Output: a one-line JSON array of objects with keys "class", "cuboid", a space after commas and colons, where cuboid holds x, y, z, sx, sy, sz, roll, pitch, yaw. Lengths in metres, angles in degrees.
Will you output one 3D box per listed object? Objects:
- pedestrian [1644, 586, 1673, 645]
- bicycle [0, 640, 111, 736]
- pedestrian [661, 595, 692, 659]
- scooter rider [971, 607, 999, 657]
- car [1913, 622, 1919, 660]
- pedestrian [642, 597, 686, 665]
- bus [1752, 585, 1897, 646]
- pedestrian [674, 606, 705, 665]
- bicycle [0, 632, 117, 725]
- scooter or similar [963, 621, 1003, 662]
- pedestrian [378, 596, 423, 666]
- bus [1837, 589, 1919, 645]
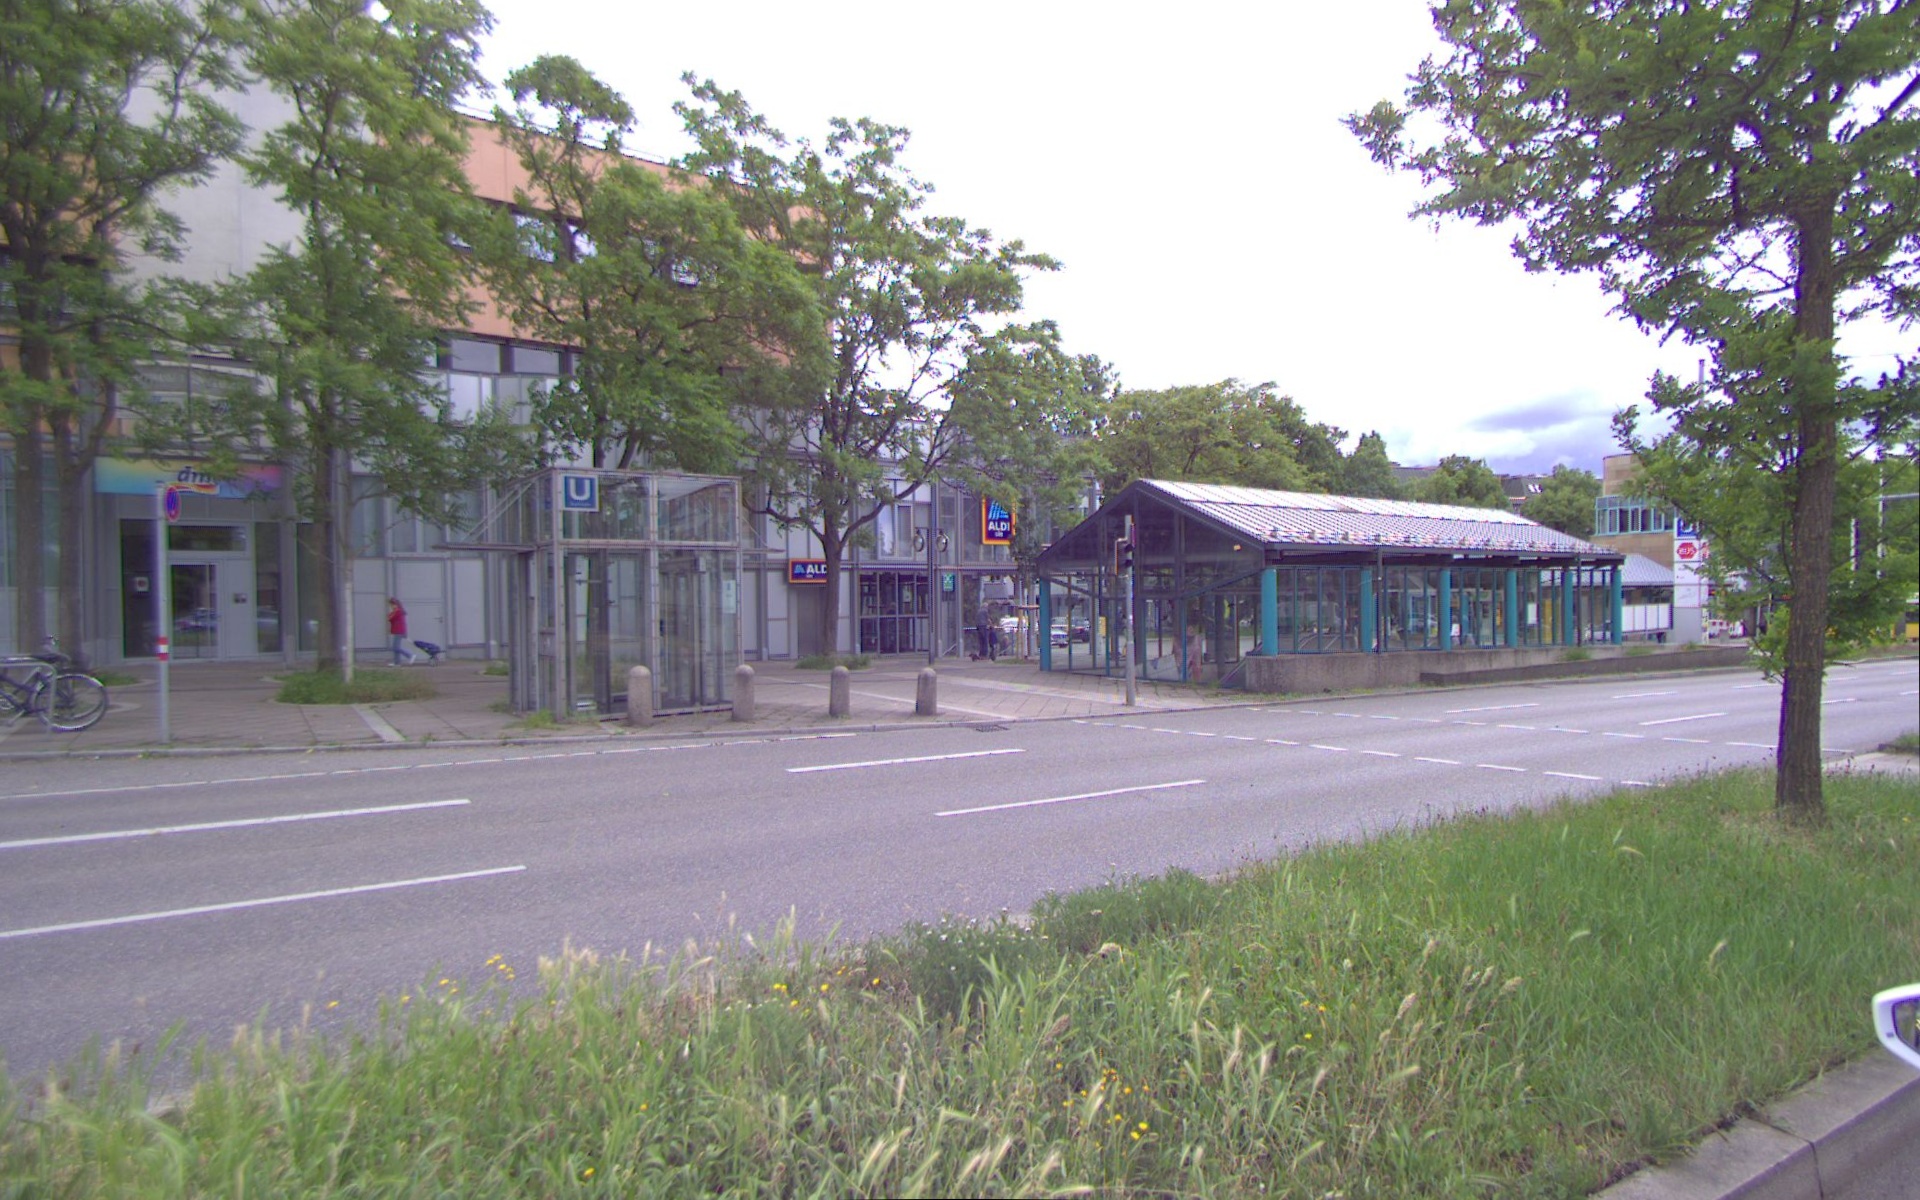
[{"class": "pedestrian", "cuboid": [24.351, 0.540, 35.017, 0.639, 2.040, 0.677, 1, -1, -34]}, {"class": "bicycle", "cuboid": [-11.617, 1.066, 12.220, 1.923, 1.098, 0.822, 1, -1, -44]}, {"class": "pedestrian", "cuboid": [-7.919, 0.742, 28.046, 0.674, 1.750, 0.560, 0, 0, -39]}, {"class": "scooter rider", "cuboid": [0.822, 1.034, 32.598, 0.701, 1.566, 0.520, 0, 2, -39]}, {"class": "car", "cuboid": [40.435, 1.658, 40.487, 3.955, 1.506, 1.983, 1, -1, -32]}, {"class": "pedestrian", "cuboid": [-7.782, 0.807, 26.411, 0.879, 1.739, 0.764, 0, 2, -39]}, {"class": "bus", "cuboid": [52.837, 0.996, 61.284, 10.591, 3.476, 2.822, 1, -1, -26]}, {"class": "pedestrian", "cuboid": [-7.441, 0.970, 27.670, 0.674, 1.610, 0.513, 0, 0, -39]}, {"class": "bicycle", "cuboid": [-12.287, 1.017, 13.096, 0.706, 1.151, 1.944, 0, -1, 45]}, {"class": "scooter or similar", "cuboid": [0.759, 1.330, 32.570, 1.277, 1.284, 0.476, 0, 2, -39]}, {"class": "pedestrian", "cuboid": [-13.155, 0.725, 23.629, 0.819, 1.607, 0.629, 1, -1, -40]}, {"class": "bus", "cuboid": [61.839, 1.162, 65.759, 10.591, 3.476, 2.822, 1, -1, -26]}]
